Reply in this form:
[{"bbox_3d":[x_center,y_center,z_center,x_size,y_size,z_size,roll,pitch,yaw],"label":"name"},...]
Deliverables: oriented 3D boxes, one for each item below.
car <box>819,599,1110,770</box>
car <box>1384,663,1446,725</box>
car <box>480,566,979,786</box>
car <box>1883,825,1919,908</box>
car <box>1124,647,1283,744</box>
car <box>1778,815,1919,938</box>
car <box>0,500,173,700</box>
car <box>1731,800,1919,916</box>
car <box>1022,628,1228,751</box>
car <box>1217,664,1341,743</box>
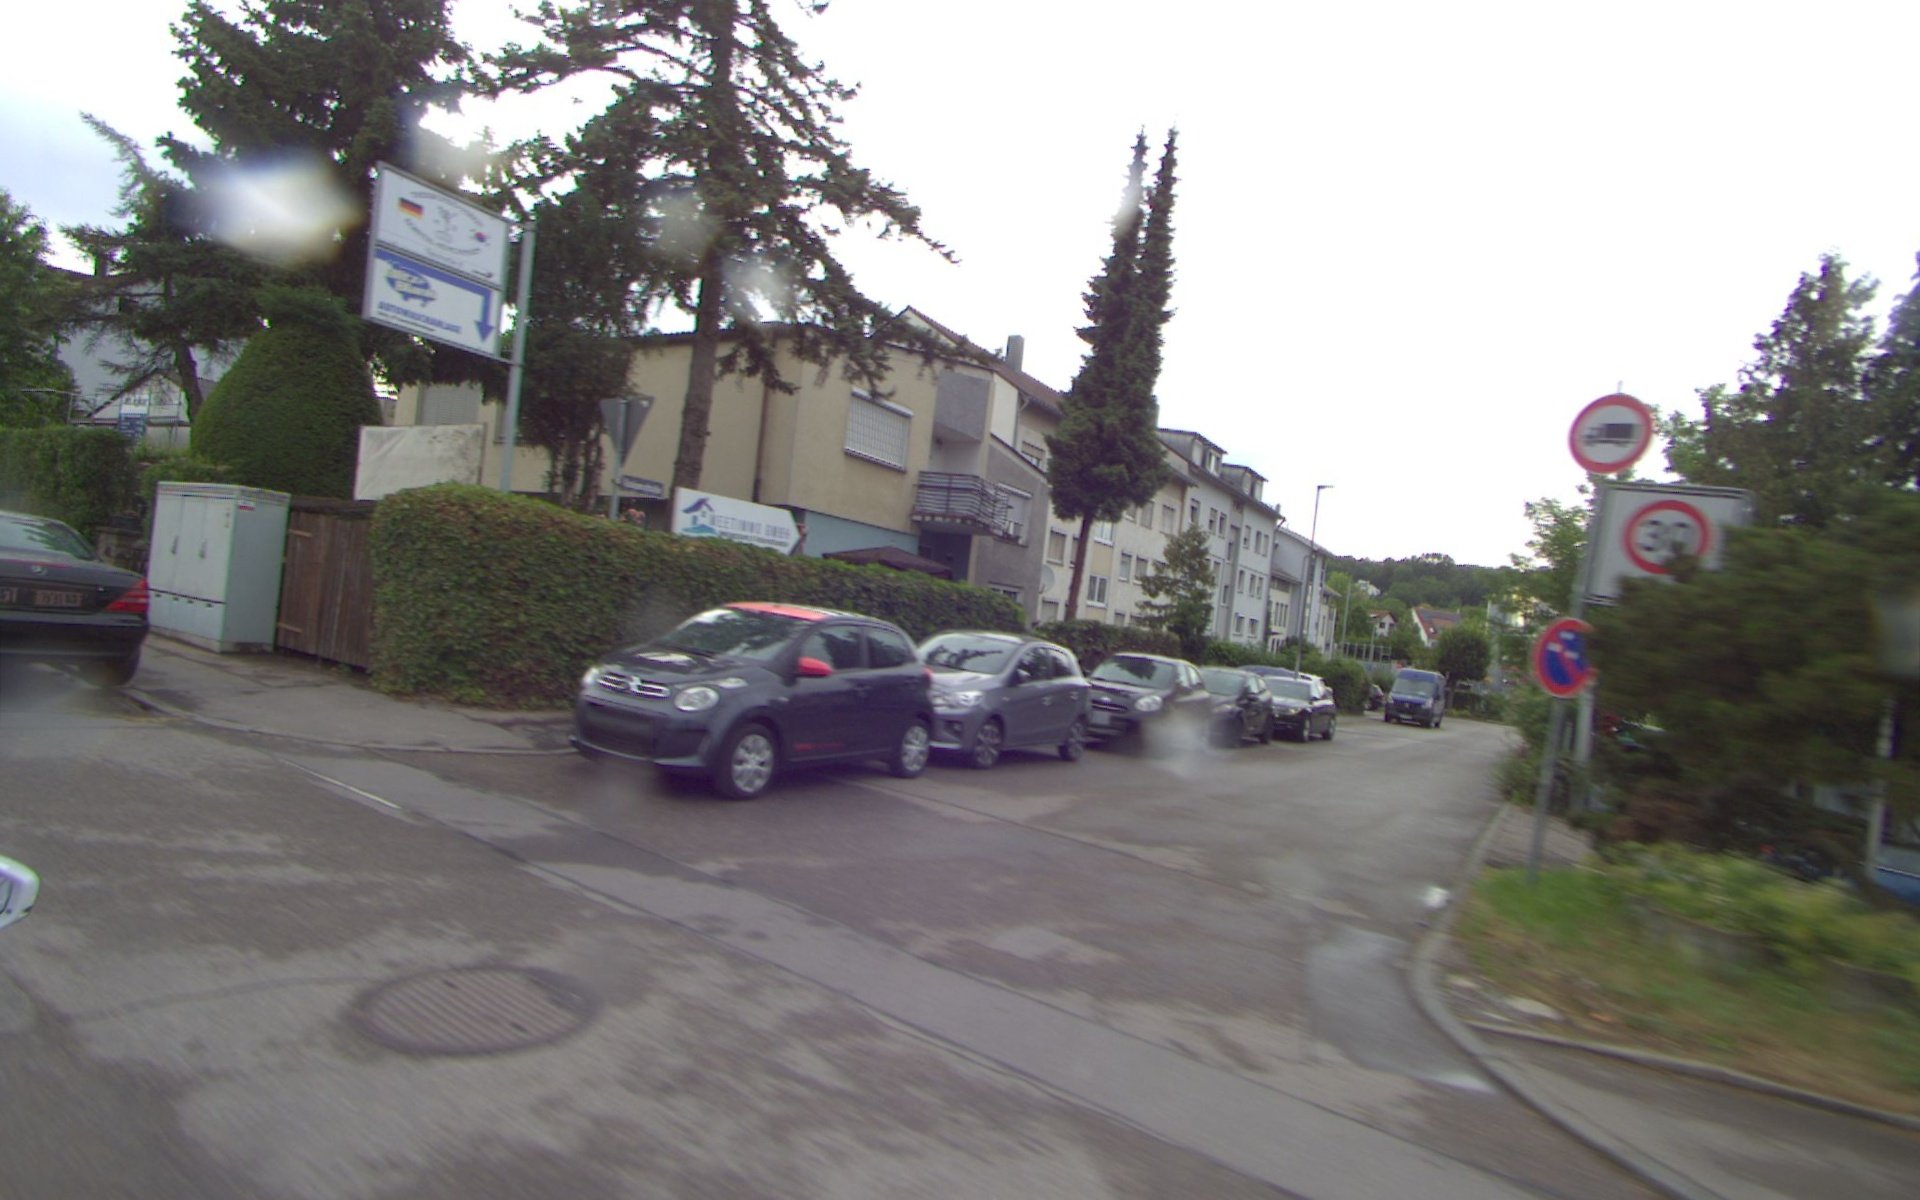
[{"bbox_3d":[0.215,1.027,12.187,1.828,1.556,3.622,7,-2,30],"label":"car"},{"bbox_3d":[21.002,4.356,46.349,1.911,2.501,4.376,7,-2,30],"label":"car"},{"bbox_3d":[-1.696,0.668,8.745,1.918,1.280,3.996,7,-2,30],"label":"car"},{"bbox_3d":[20.501,5.535,19.082,1.826,1.522,3.954,8,-2,-13],"label":"car"},{"bbox_3d":[4.978,1.924,20.207,1.966,1.492,3.843,7,-2,30],"label":"car"},{"bbox_3d":[13.983,4.088,14.116,3.494,1.281,1.590,7,-2,26],"label":"car"},{"bbox_3d":[-8.313,-0.210,8.130,4.024,1.355,1.594,7,-3,31],"label":"car"},{"bbox_3d":[15.292,4.359,16.531,3.725,1.249,1.818,7,-2,24],"label":"car"},{"bbox_3d":[2.826,1.477,16.450,1.911,1.525,3.953,7,-2,30],"label":"car"},{"bbox_3d":[7.890,2.540,24.658,1.923,1.514,4.064,7,-2,30],"label":"car"}]
